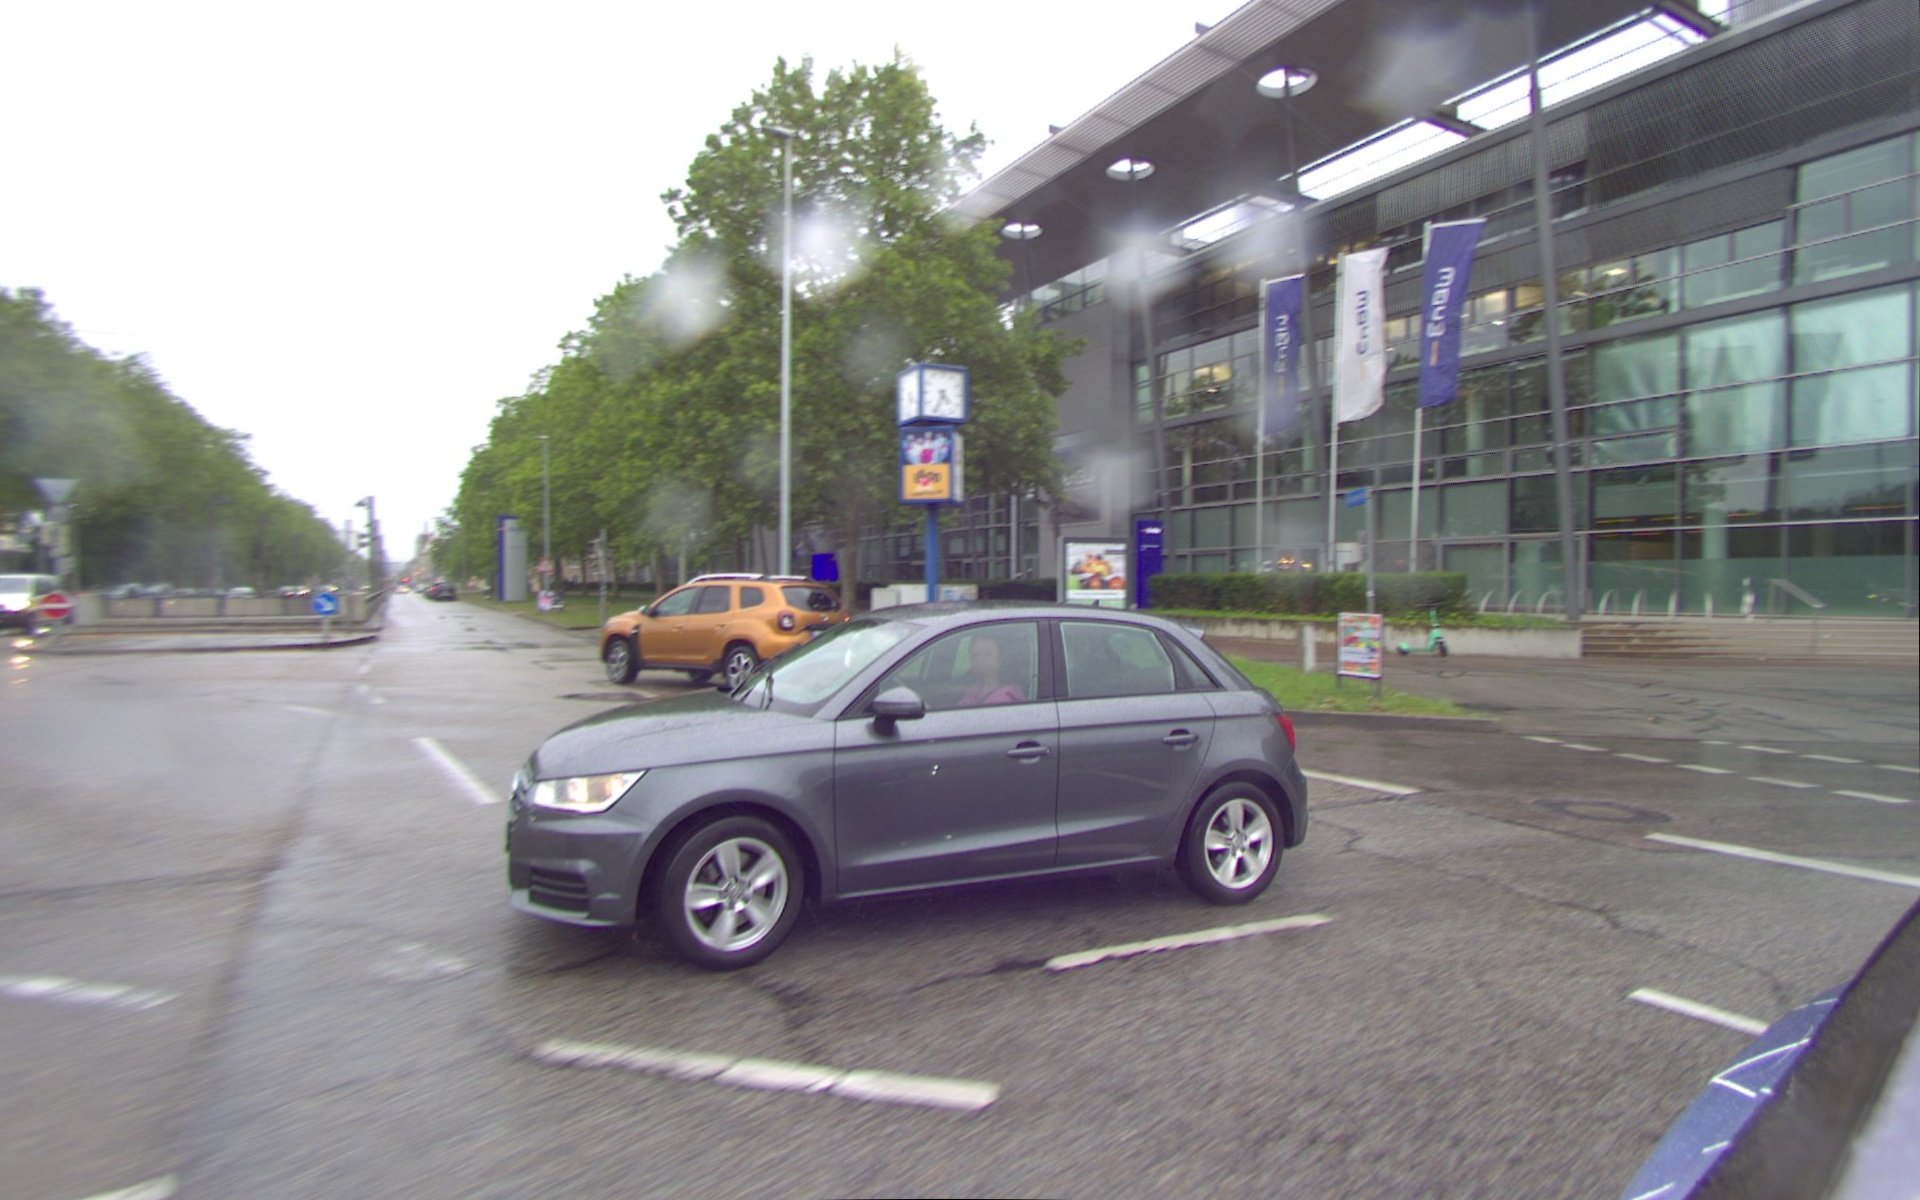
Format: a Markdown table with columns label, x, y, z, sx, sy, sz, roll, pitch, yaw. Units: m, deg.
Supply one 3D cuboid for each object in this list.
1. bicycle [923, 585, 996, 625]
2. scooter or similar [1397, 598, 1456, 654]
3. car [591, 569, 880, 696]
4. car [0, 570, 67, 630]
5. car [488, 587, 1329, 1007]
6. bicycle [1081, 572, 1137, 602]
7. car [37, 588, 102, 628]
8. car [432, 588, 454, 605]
| label | x | y | z | sx | sy | sz | roll | pitch | yaw |
| --- | --- | --- | --- | --- | --- | --- | --- | --- | --- |
| bicycle | -0.020 | 0.182 | 37.610 | 2.636 | 1.461 | 0.802 | 0 | -1 | 17 |
| scooter or similar | 10.156 | 0.557 | 22.063 | 0.334 | 1.152 | 1.175 | 0 | 1 | -33 |
| car | -3.399 | 0.382 | 15.081 | 4.139 | 1.652 | 1.884 | 1 | 1 | 33 |
| car | -31.389 | -0.032 | 33.357 | 2.037 | 1.872 | 4.751 | 0 | 1 | -30 |
| car | -0.267 | 0.684 | 5.004 | 3.675 | 1.416 | 1.845 | 1 | -1 | -23 |
| bicycle | 7.085 | -0.614 | 47.823 | 1.184 | 1.349 | 3.651 | 1 | 1 | 34 |
| car | -45.295 | 0.364 | 51.572 | 2.039 | 1.872 | 4.745 | -1 | 1 | -36 |
| car | -49.165 | -0.338 | 96.286 | 1.805 | 1.571 | 4.006 | 0 | 1 | -28 |
